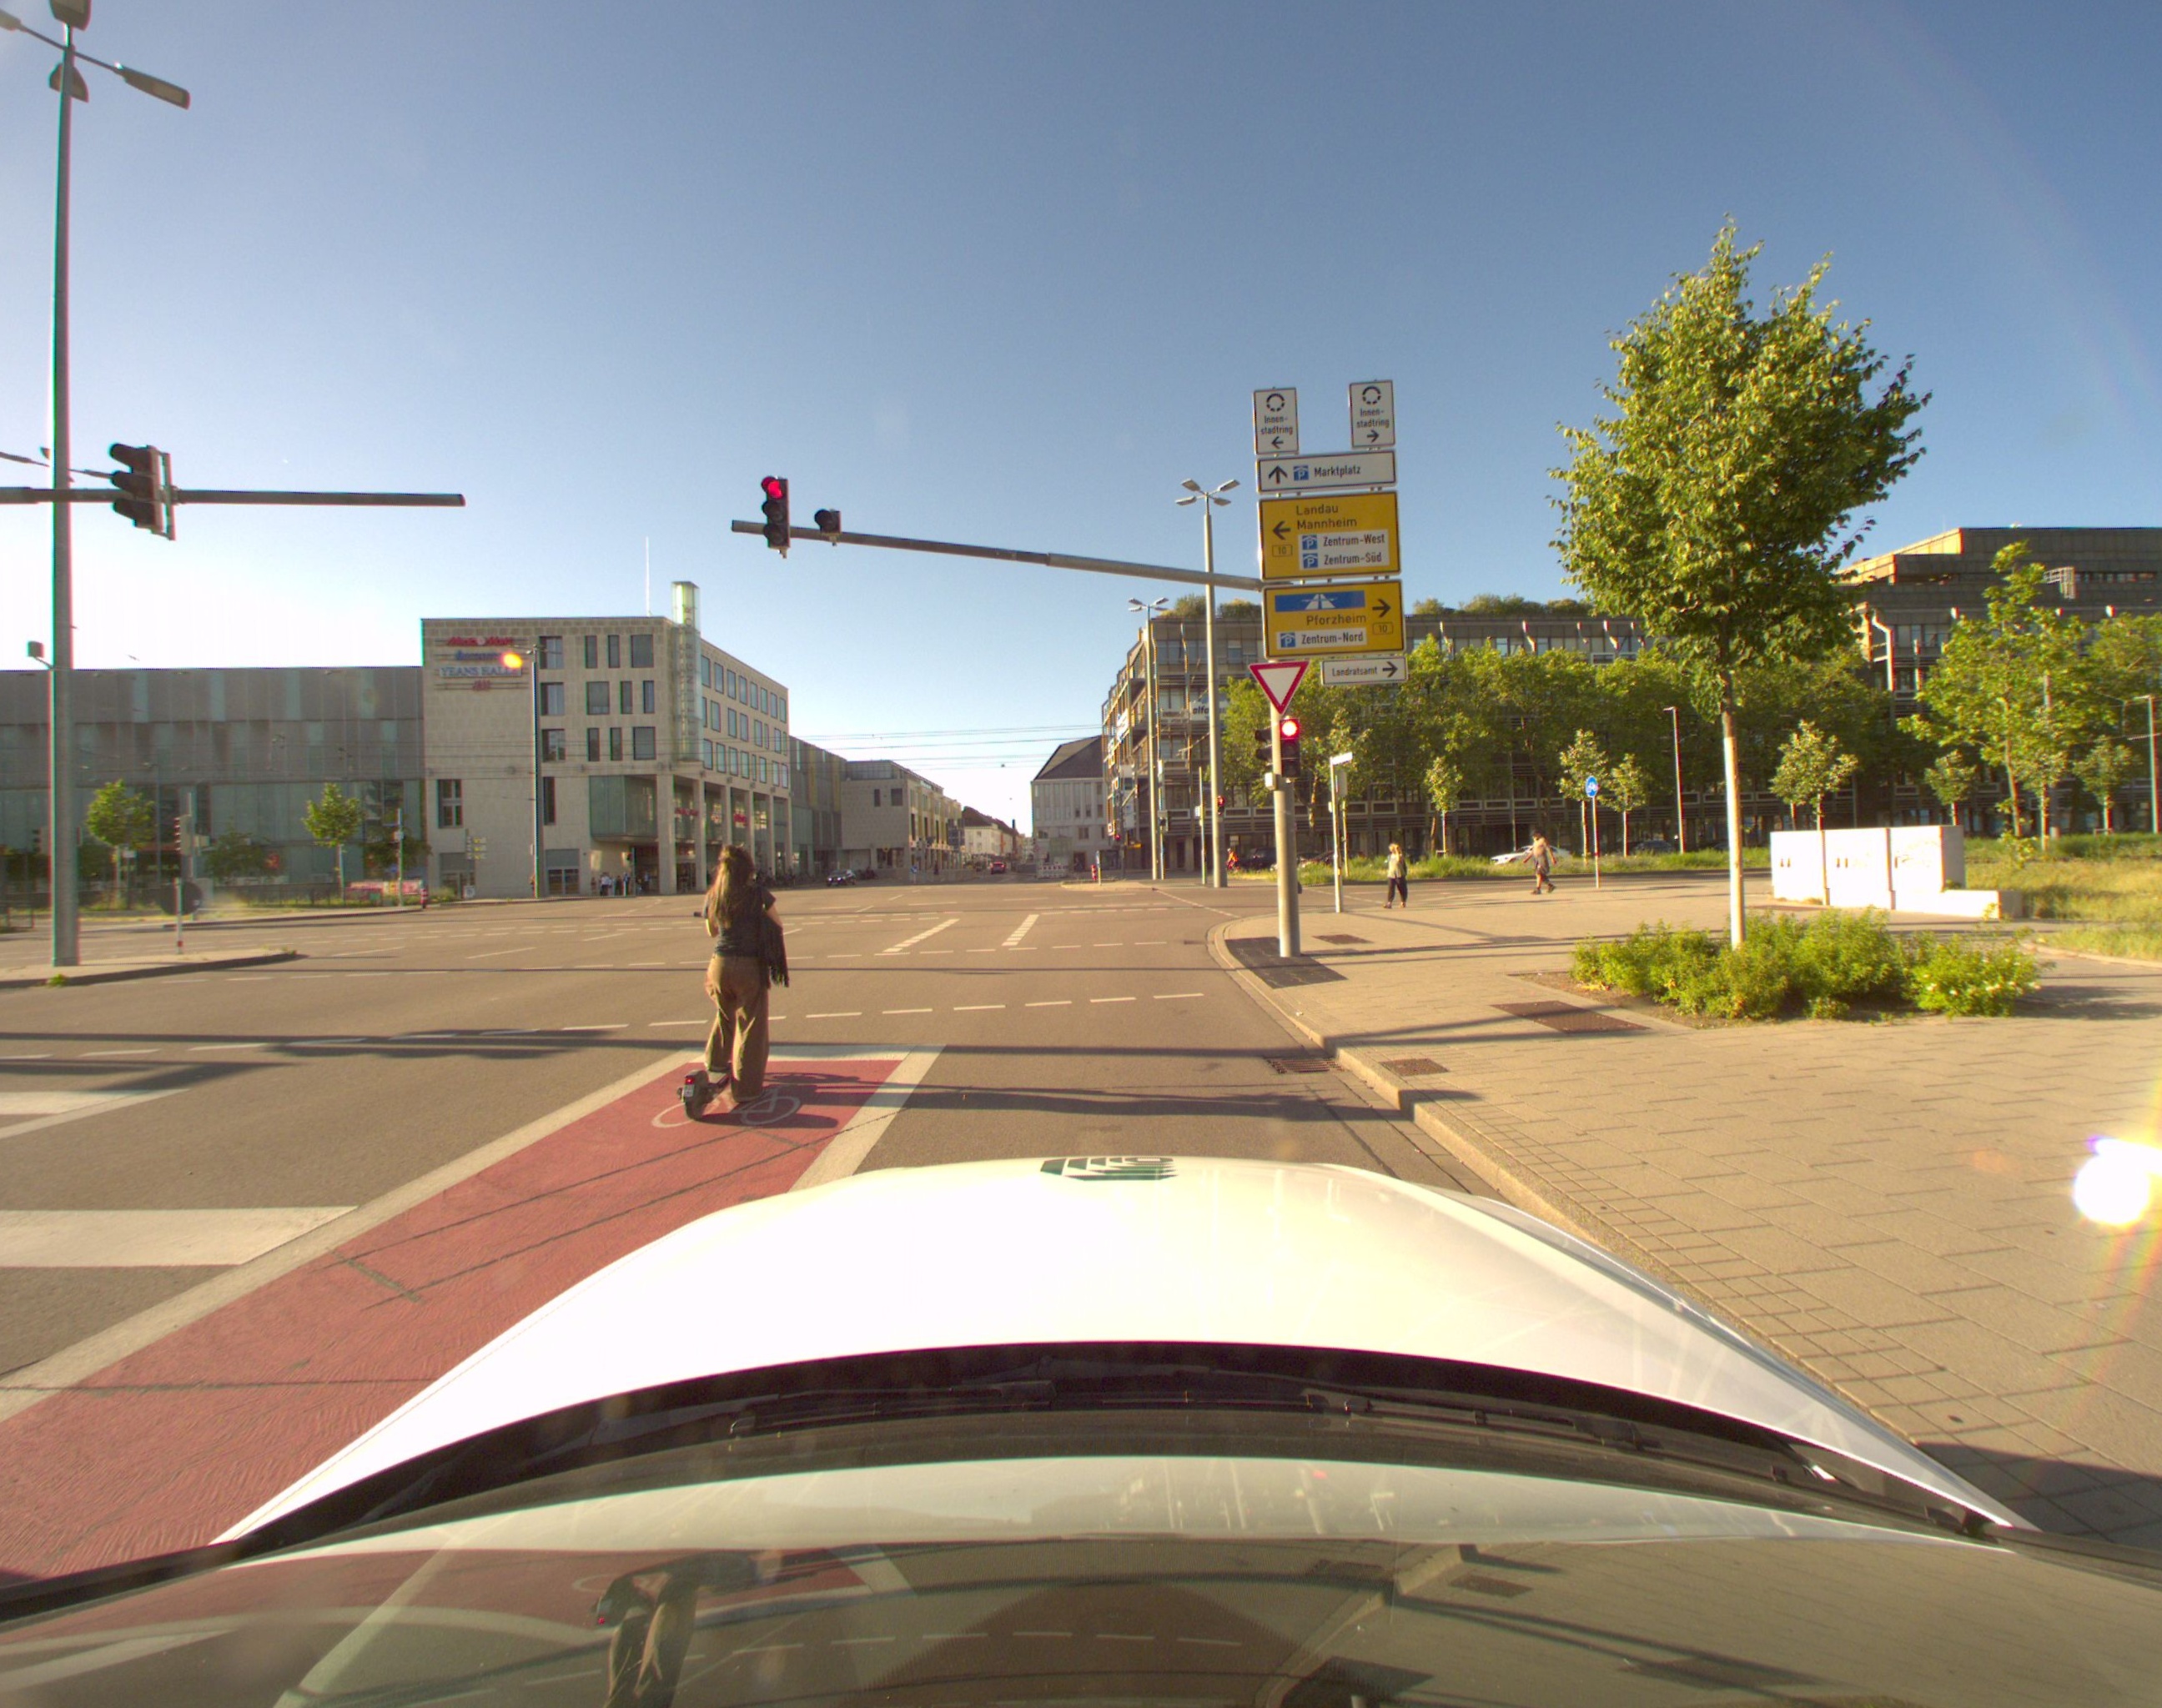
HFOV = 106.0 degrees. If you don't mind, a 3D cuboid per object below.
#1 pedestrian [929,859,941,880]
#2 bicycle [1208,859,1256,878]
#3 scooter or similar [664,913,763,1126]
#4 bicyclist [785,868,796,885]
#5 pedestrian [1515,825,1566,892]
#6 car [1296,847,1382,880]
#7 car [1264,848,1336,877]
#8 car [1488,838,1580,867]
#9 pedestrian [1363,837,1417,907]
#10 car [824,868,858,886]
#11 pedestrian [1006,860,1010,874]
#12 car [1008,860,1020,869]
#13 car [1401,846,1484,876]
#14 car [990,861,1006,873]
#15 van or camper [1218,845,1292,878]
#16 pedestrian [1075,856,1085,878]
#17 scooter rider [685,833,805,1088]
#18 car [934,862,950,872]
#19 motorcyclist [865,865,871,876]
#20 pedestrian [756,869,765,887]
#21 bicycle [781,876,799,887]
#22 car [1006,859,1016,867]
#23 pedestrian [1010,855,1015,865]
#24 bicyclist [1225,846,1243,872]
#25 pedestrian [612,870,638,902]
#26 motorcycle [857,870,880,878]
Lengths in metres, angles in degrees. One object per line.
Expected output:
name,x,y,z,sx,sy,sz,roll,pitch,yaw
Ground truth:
pedestrian,-11.535,1.240,64.445,0.773,1.638,0.627,-2,0,4
bicycle,8.687,0.818,47.059,2.561,0.975,1.047,-2,0,-1
scooter or similar,-2.201,0.944,4.936,0.306,1.107,0.835,-2,0,-9
bicyclist,-24.976,1.965,70.078,0.623,1.448,0.589,-2,0,3
pedestrian,12.033,0.109,21.349,0.869,1.706,0.768,-2,0,0
car,14.598,0.524,46.228,4.287,1.684,1.820,-2,0,-9
car,13.549,0.516,50.528,3.973,1.684,1.761,-2,0,0
car,28.650,-0.098,51.579,4.831,1.684,1.824,-2,0,-2
pedestrian,7.411,0.414,19.552,0.875,1.614,0.762,-2,0,-23
car,-20.752,1.990,70.493,1.670,1.357,4.021,-2,0,1
pedestrian,-8.969,1.580,100.119,0.490,1.664,0.529,0,-1,-12
car,-11.980,1.832,146.349,1.652,1.458,3.543,-2,0,2
car,22.741,0.435,51.300,4.392,1.684,1.824,-2,0,-2
car,-11.013,1.751,108.532,1.652,1.458,3.543,-2,0,2
van or camper,11.464,0.474,53.808,4.404,2.013,1.993,-2,0,-3
pedestrian,-0.066,1.033,64.688,0.697,1.688,0.620,-2,0,2
scooter rider,-2.123,0.644,5.188,0.552,1.530,0.448,-2,0,-7
car,-20.938,1.946,122.926,1.652,1.458,3.543,-2,0,2
motorcyclist,-25.986,1.999,99.178,0.627,1.406,0.661,0,-1,-7
pedestrian,-29.851,2.207,75.842,0.590,1.646,0.629,-2,0,1
bicycle,-24.953,2.353,69.902,0.633,0.903,2.220,-2,0,3
car,-14.341,1.876,166.684,1.652,1.458,3.543,-2,0,2
pedestrian,-13.898,1.192,165.266,0.907,1.965,0.823,0,-1,1
bicyclist,8.834,0.304,47.075,0.820,1.474,0.652,-2,0,-2
pedestrian,-25.137,1.766,44.914,0.821,1.675,1.004,-2,0,-2
motorcycle,-25.805,2.440,98.976,2.600,0.993,1.113,0,-1,-8
